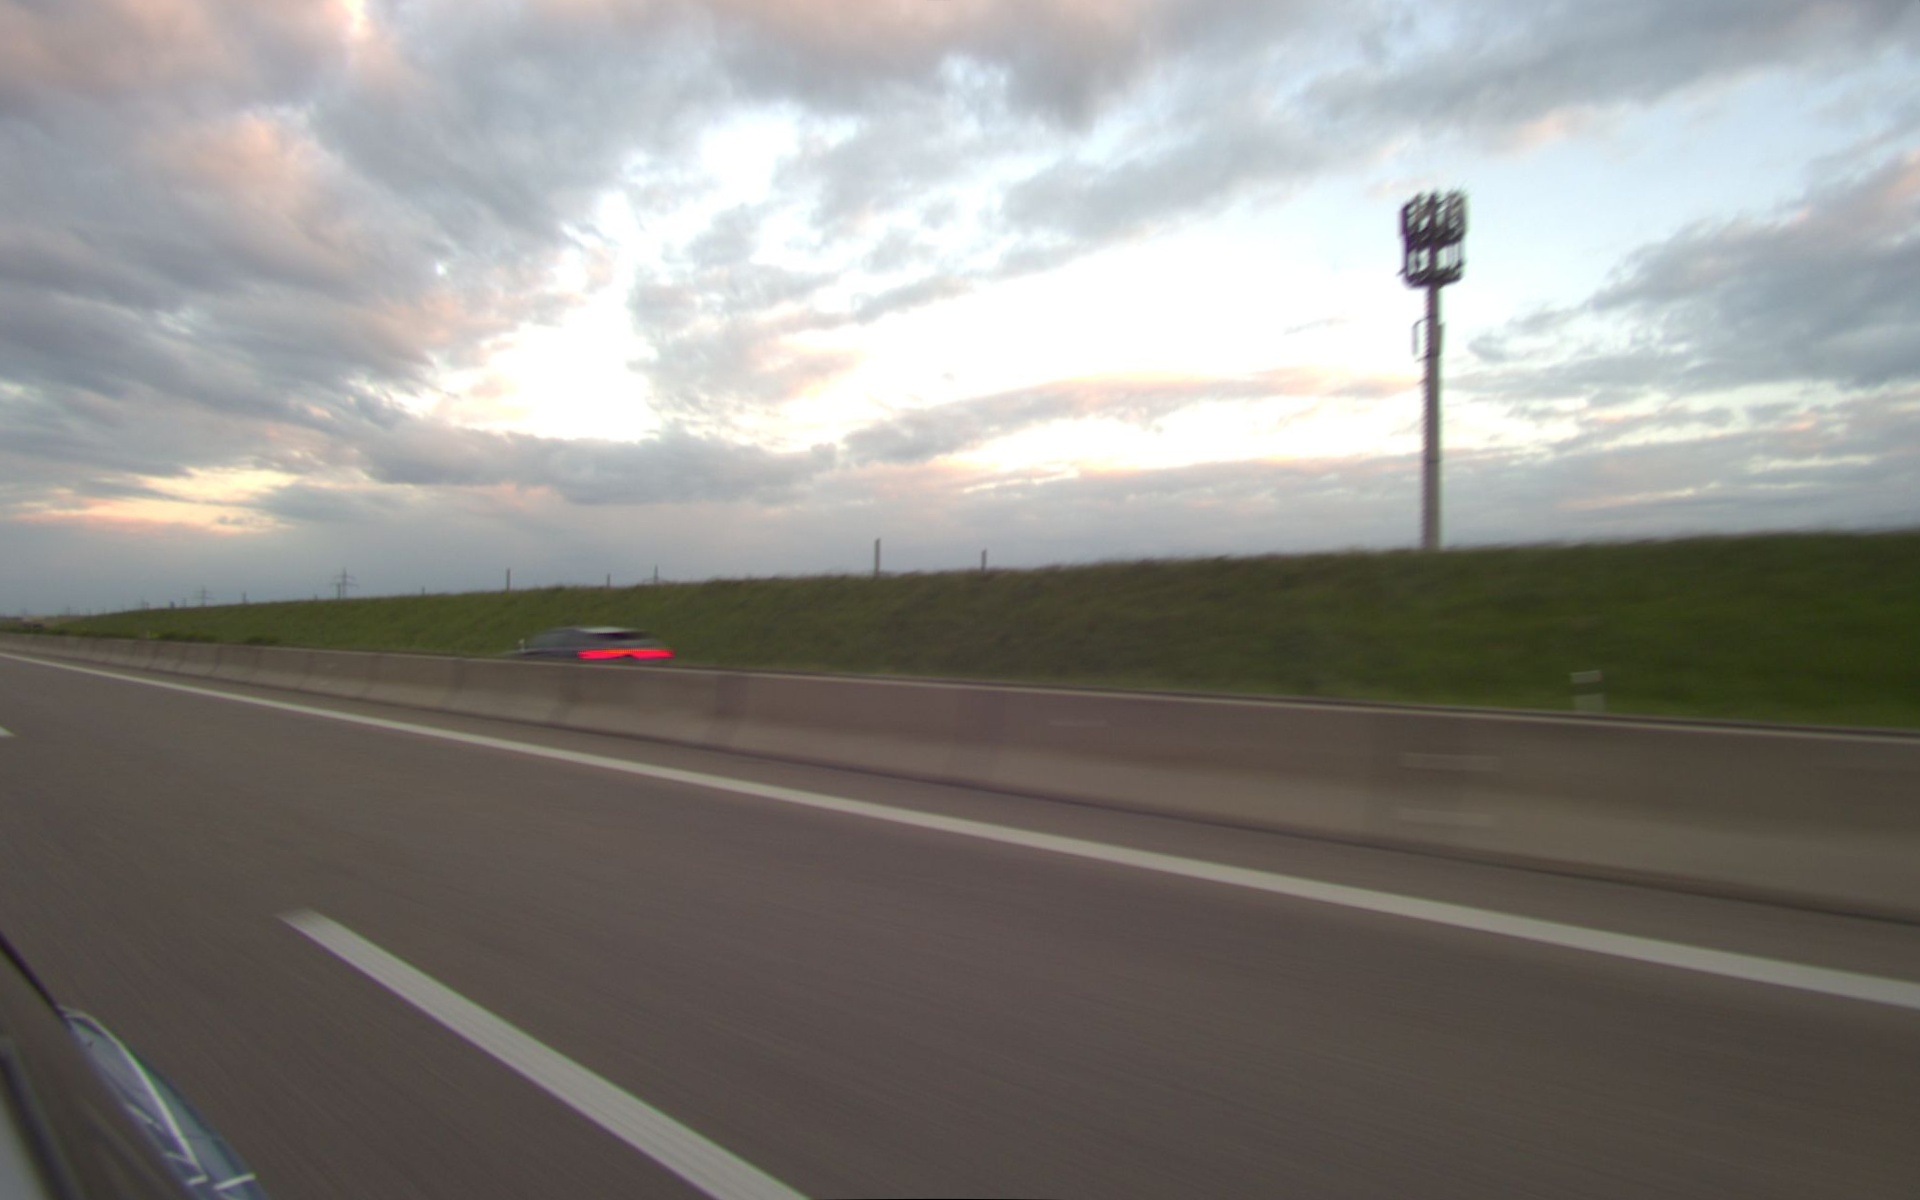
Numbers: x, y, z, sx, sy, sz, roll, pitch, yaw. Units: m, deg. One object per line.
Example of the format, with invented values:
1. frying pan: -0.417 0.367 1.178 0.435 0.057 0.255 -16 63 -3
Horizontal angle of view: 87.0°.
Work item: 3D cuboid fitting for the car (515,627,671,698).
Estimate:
1. car: -8.016 1.311 21.972 3.771 1.396 1.561 -2 -3 41
